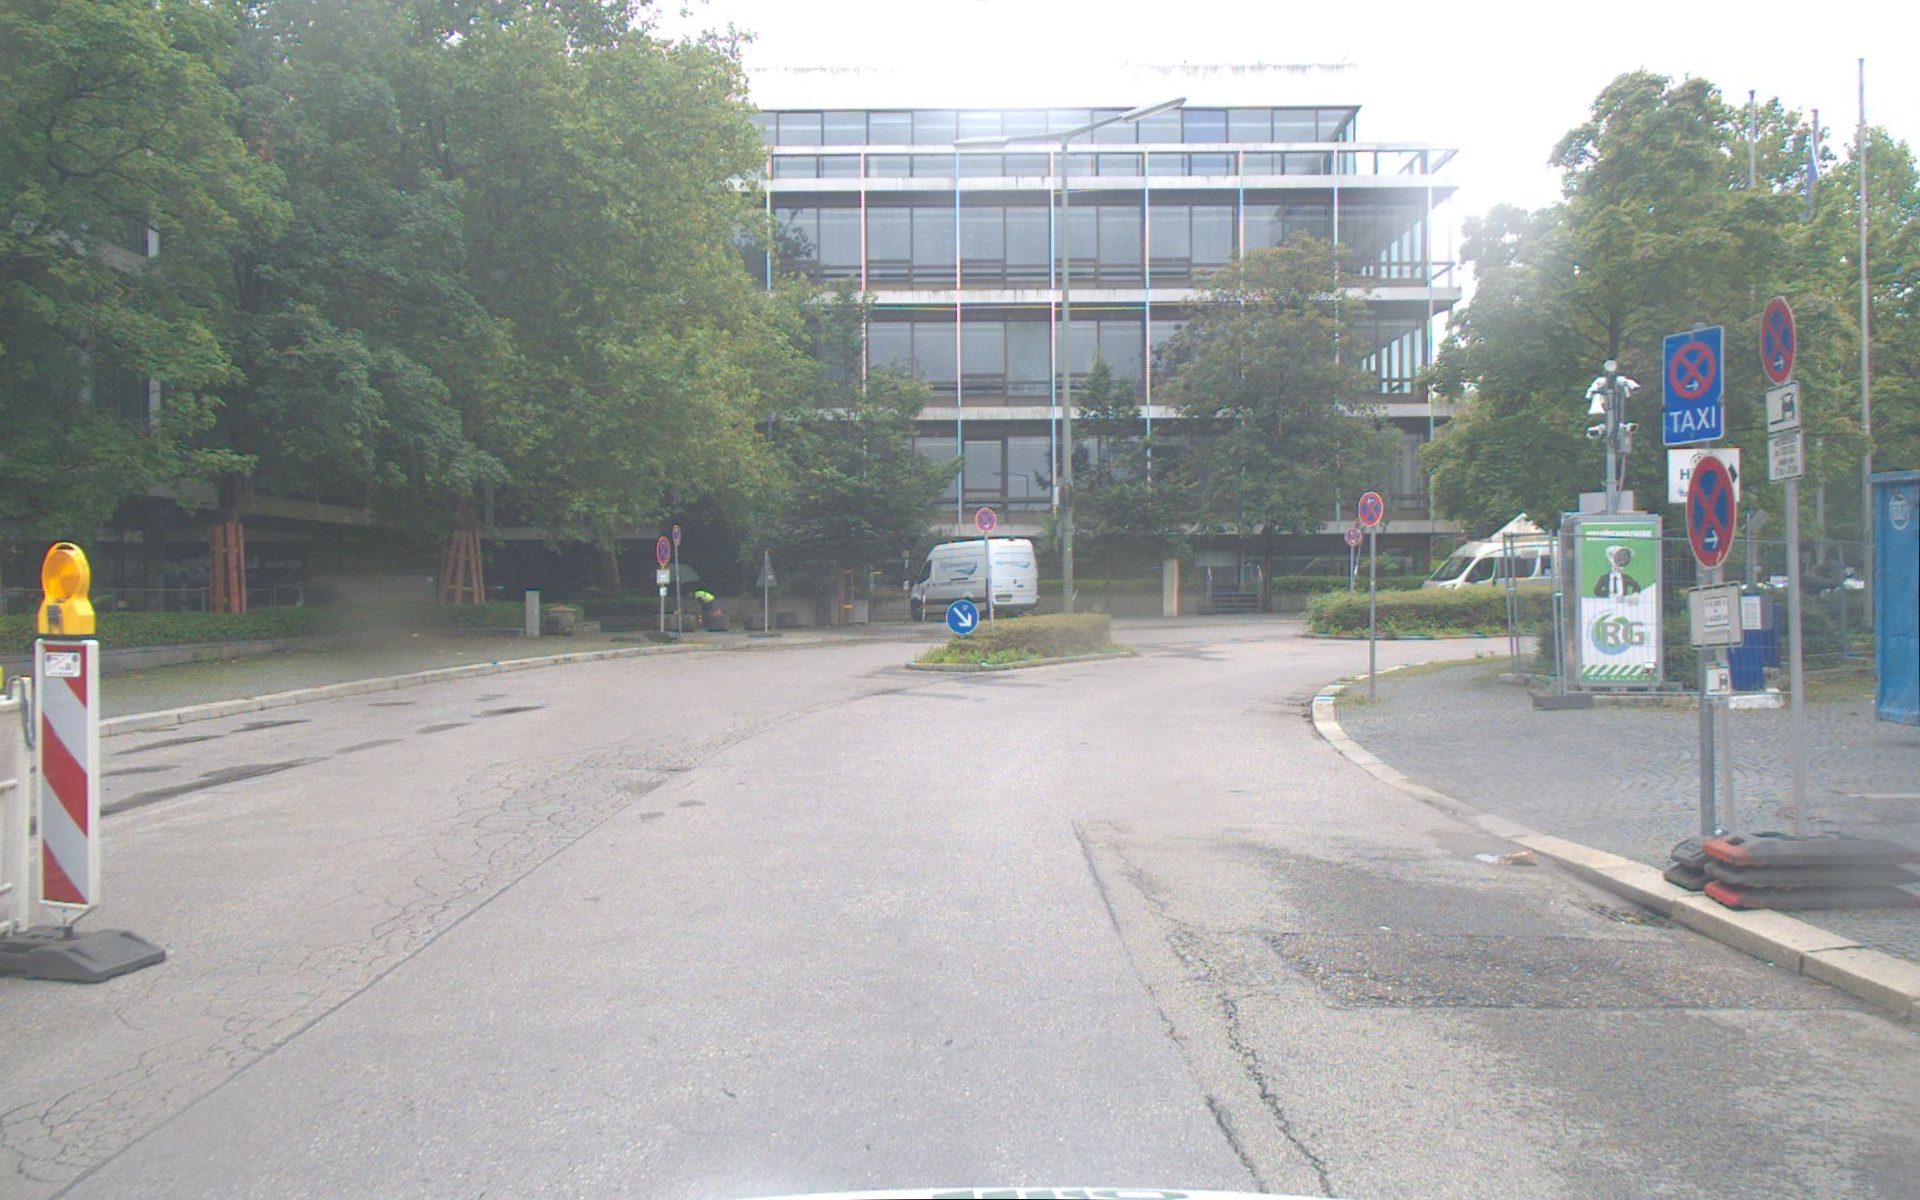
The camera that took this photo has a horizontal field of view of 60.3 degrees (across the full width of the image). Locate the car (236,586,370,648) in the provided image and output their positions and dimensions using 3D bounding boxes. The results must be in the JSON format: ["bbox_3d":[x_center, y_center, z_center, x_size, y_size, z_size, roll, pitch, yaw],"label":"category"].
[{"bbox_3d":[-16.912,0.408,42.770,1.867,1.499,3.861,0,1,1],"label":"car"}]

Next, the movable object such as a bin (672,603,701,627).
[{"bbox_3d":[-8.919,0.479,53.960,0.817,0.766,0.572,0,0,2],"label":"movable object such as a bin"}]

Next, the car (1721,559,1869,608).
[{"bbox_3d":[27.495,-0.543,54.554,3.904,1.534,2.000,-1,1,1],"label":"car"}]

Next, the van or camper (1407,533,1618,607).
[{"bbox_3d":[17.825,-0.982,53.440,6.290,2.321,2.247,-1,1,-15],"label":"van or camper"}]

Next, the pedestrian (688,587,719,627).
[{"bbox_3d":[-8.364,0.223,54.000,0.907,1.300,0.542,0,0,1],"label":"pedestrian"}]

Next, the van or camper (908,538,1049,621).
[{"bbox_3d":[0.525,-0.622,56.238,2.129,2.626,6.484,0,-1,-26],"label":"van or camper"}]
